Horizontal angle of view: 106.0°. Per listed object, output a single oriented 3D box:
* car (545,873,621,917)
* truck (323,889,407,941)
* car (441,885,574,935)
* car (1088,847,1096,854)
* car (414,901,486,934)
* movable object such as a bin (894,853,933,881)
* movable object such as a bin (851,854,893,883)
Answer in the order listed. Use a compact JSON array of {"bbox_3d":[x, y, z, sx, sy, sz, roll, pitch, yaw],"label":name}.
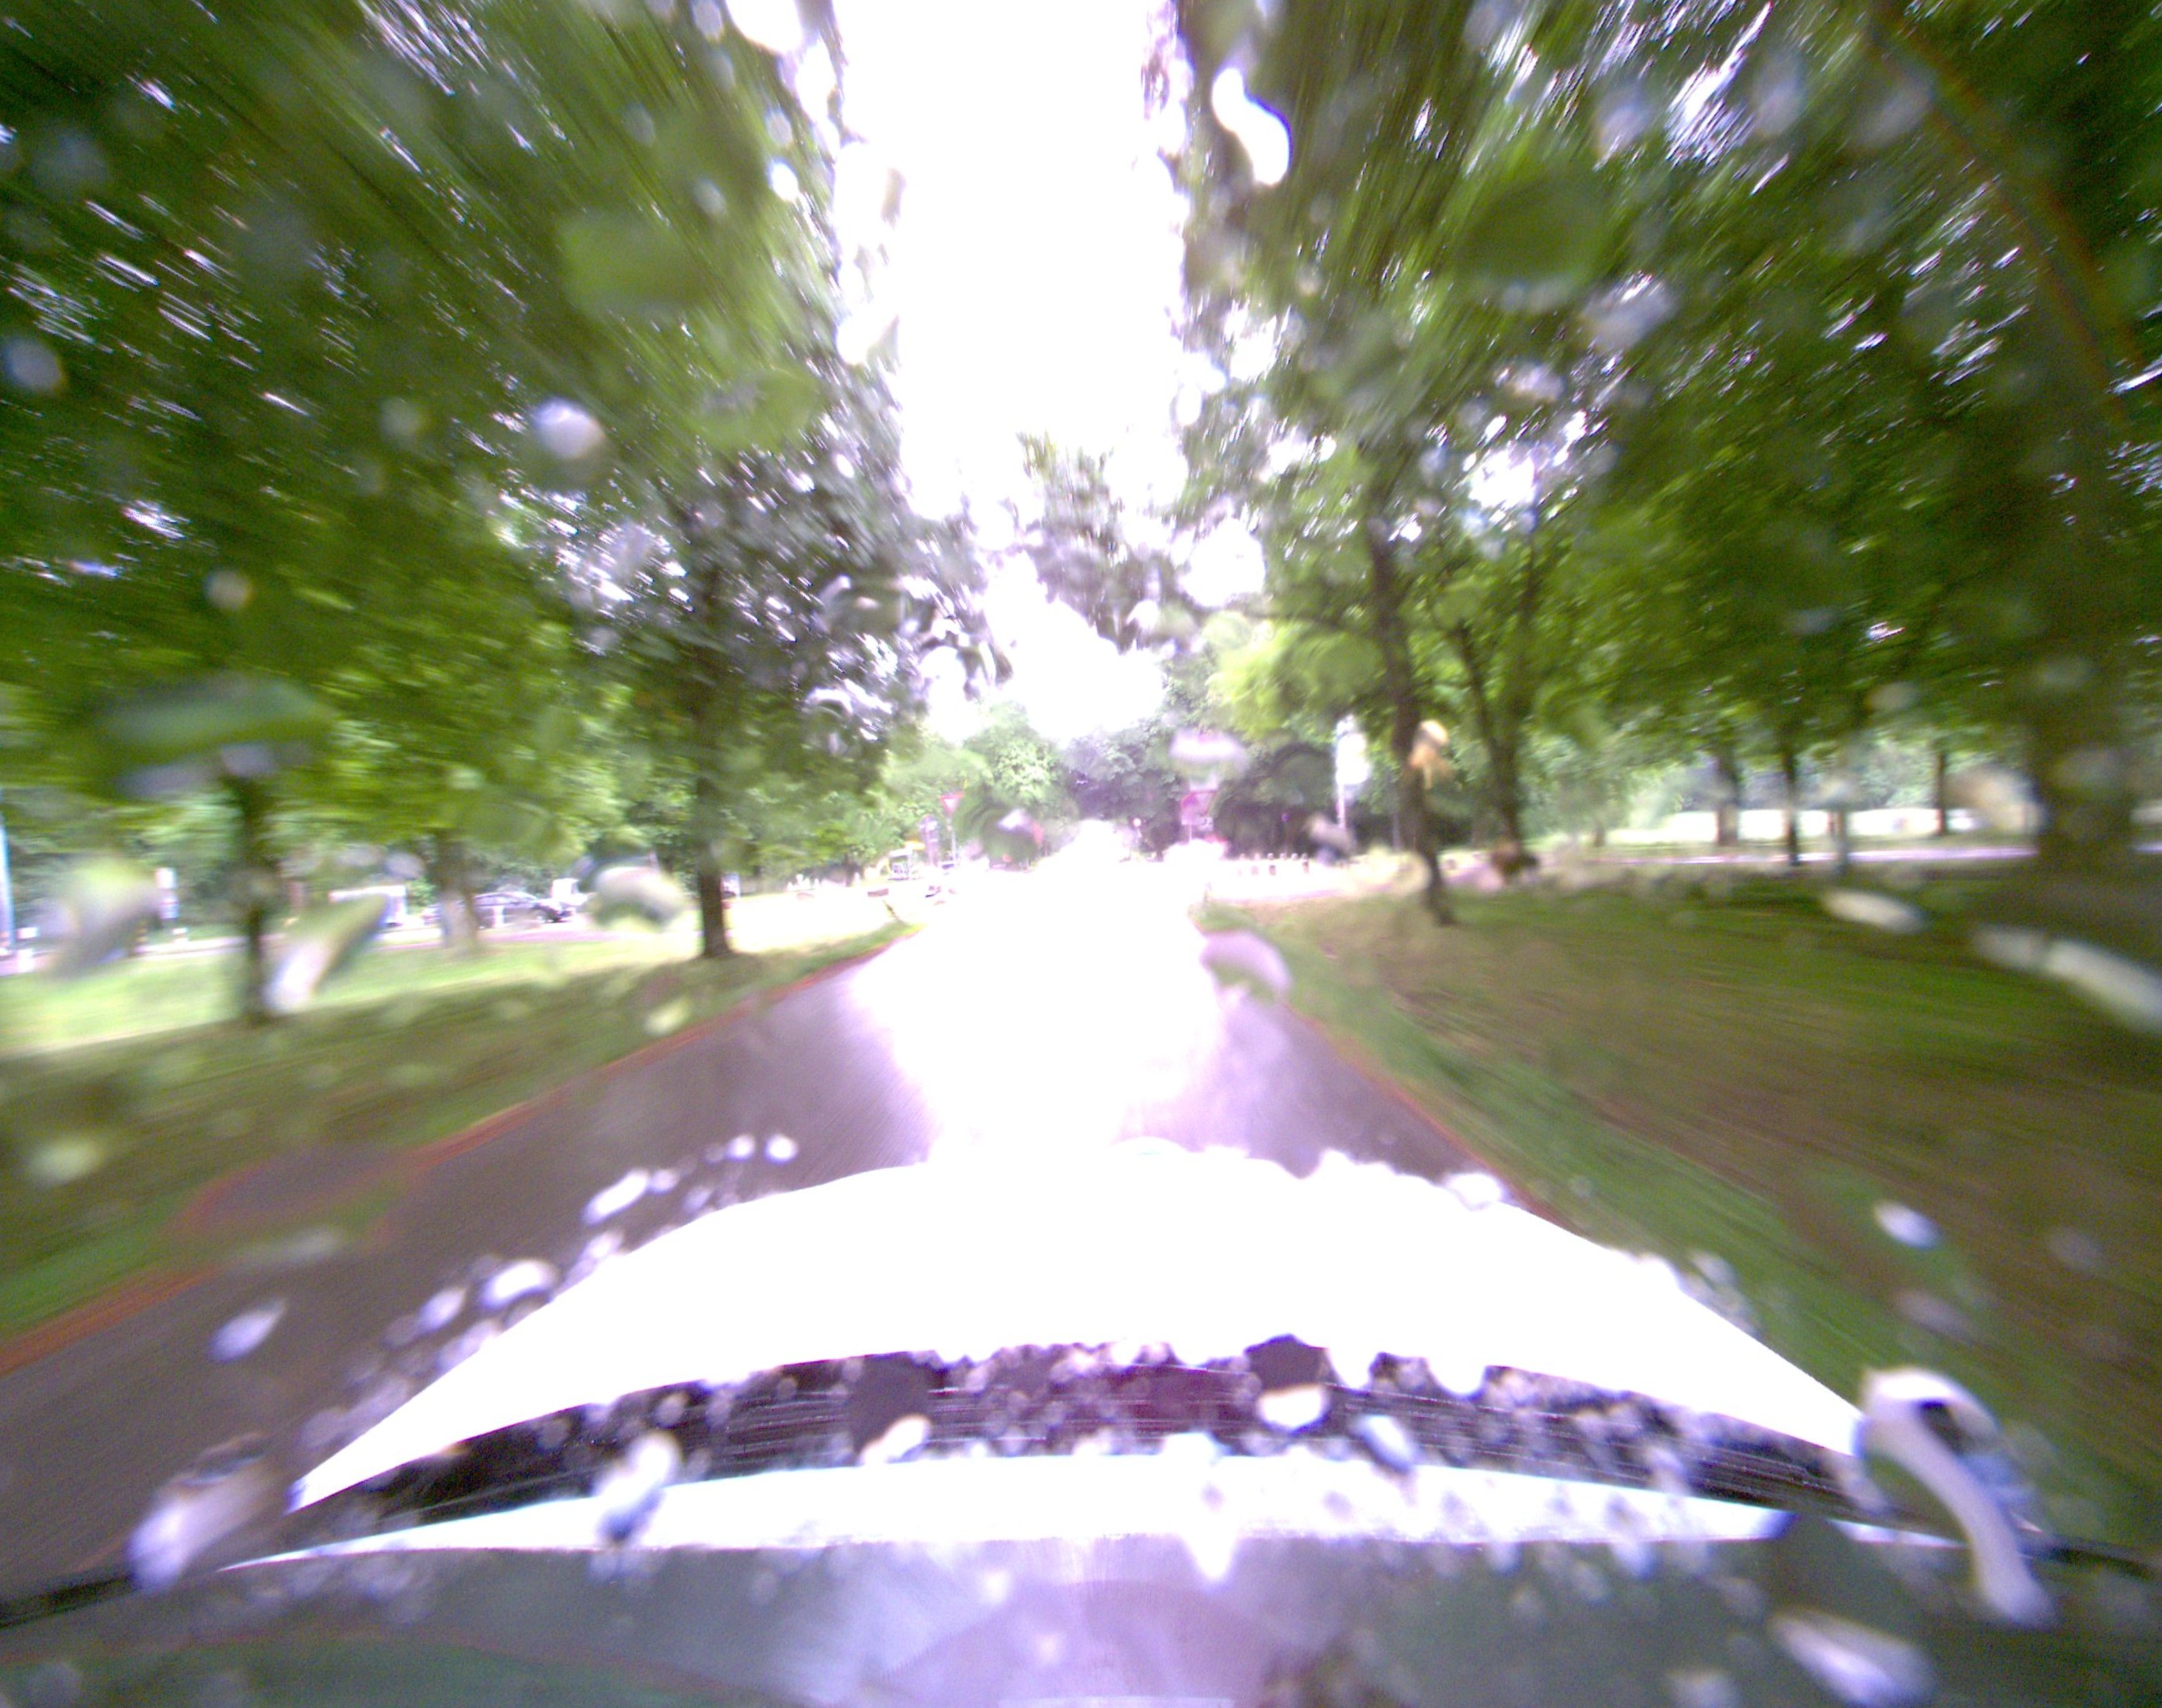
[{"bbox_3d":[-30.751,2.533,50.206,5.907,2.407,2.407,-5,-2,43],"label":"car"},{"bbox_3d":[-38.798,3.262,44.235,1.872,2.442,3.334,-4,0,-13],"label":"truck"},{"bbox_3d":[-26.359,2.530,37.579,4.567,1.708,1.723,-5,1,-14],"label":"car"},{"bbox_3d":[3.054,-0.884,225.892,1.986,1.716,4.001,-4,0,1],"label":"car"},{"bbox_3d":[-35.406,3.538,45.824,1.767,1.429,4.083,-4,0,-17],"label":"car"},{"bbox_3d":[-21.722,1.690,105.975,4.582,3.294,3.654,-4,0,-10],"label":"movable object such as a bin"},{"bbox_3d":[-26.766,1.859,104.421,4.655,3.294,3.900,-4,0,-10],"label":"movable object such as a bin"}]
